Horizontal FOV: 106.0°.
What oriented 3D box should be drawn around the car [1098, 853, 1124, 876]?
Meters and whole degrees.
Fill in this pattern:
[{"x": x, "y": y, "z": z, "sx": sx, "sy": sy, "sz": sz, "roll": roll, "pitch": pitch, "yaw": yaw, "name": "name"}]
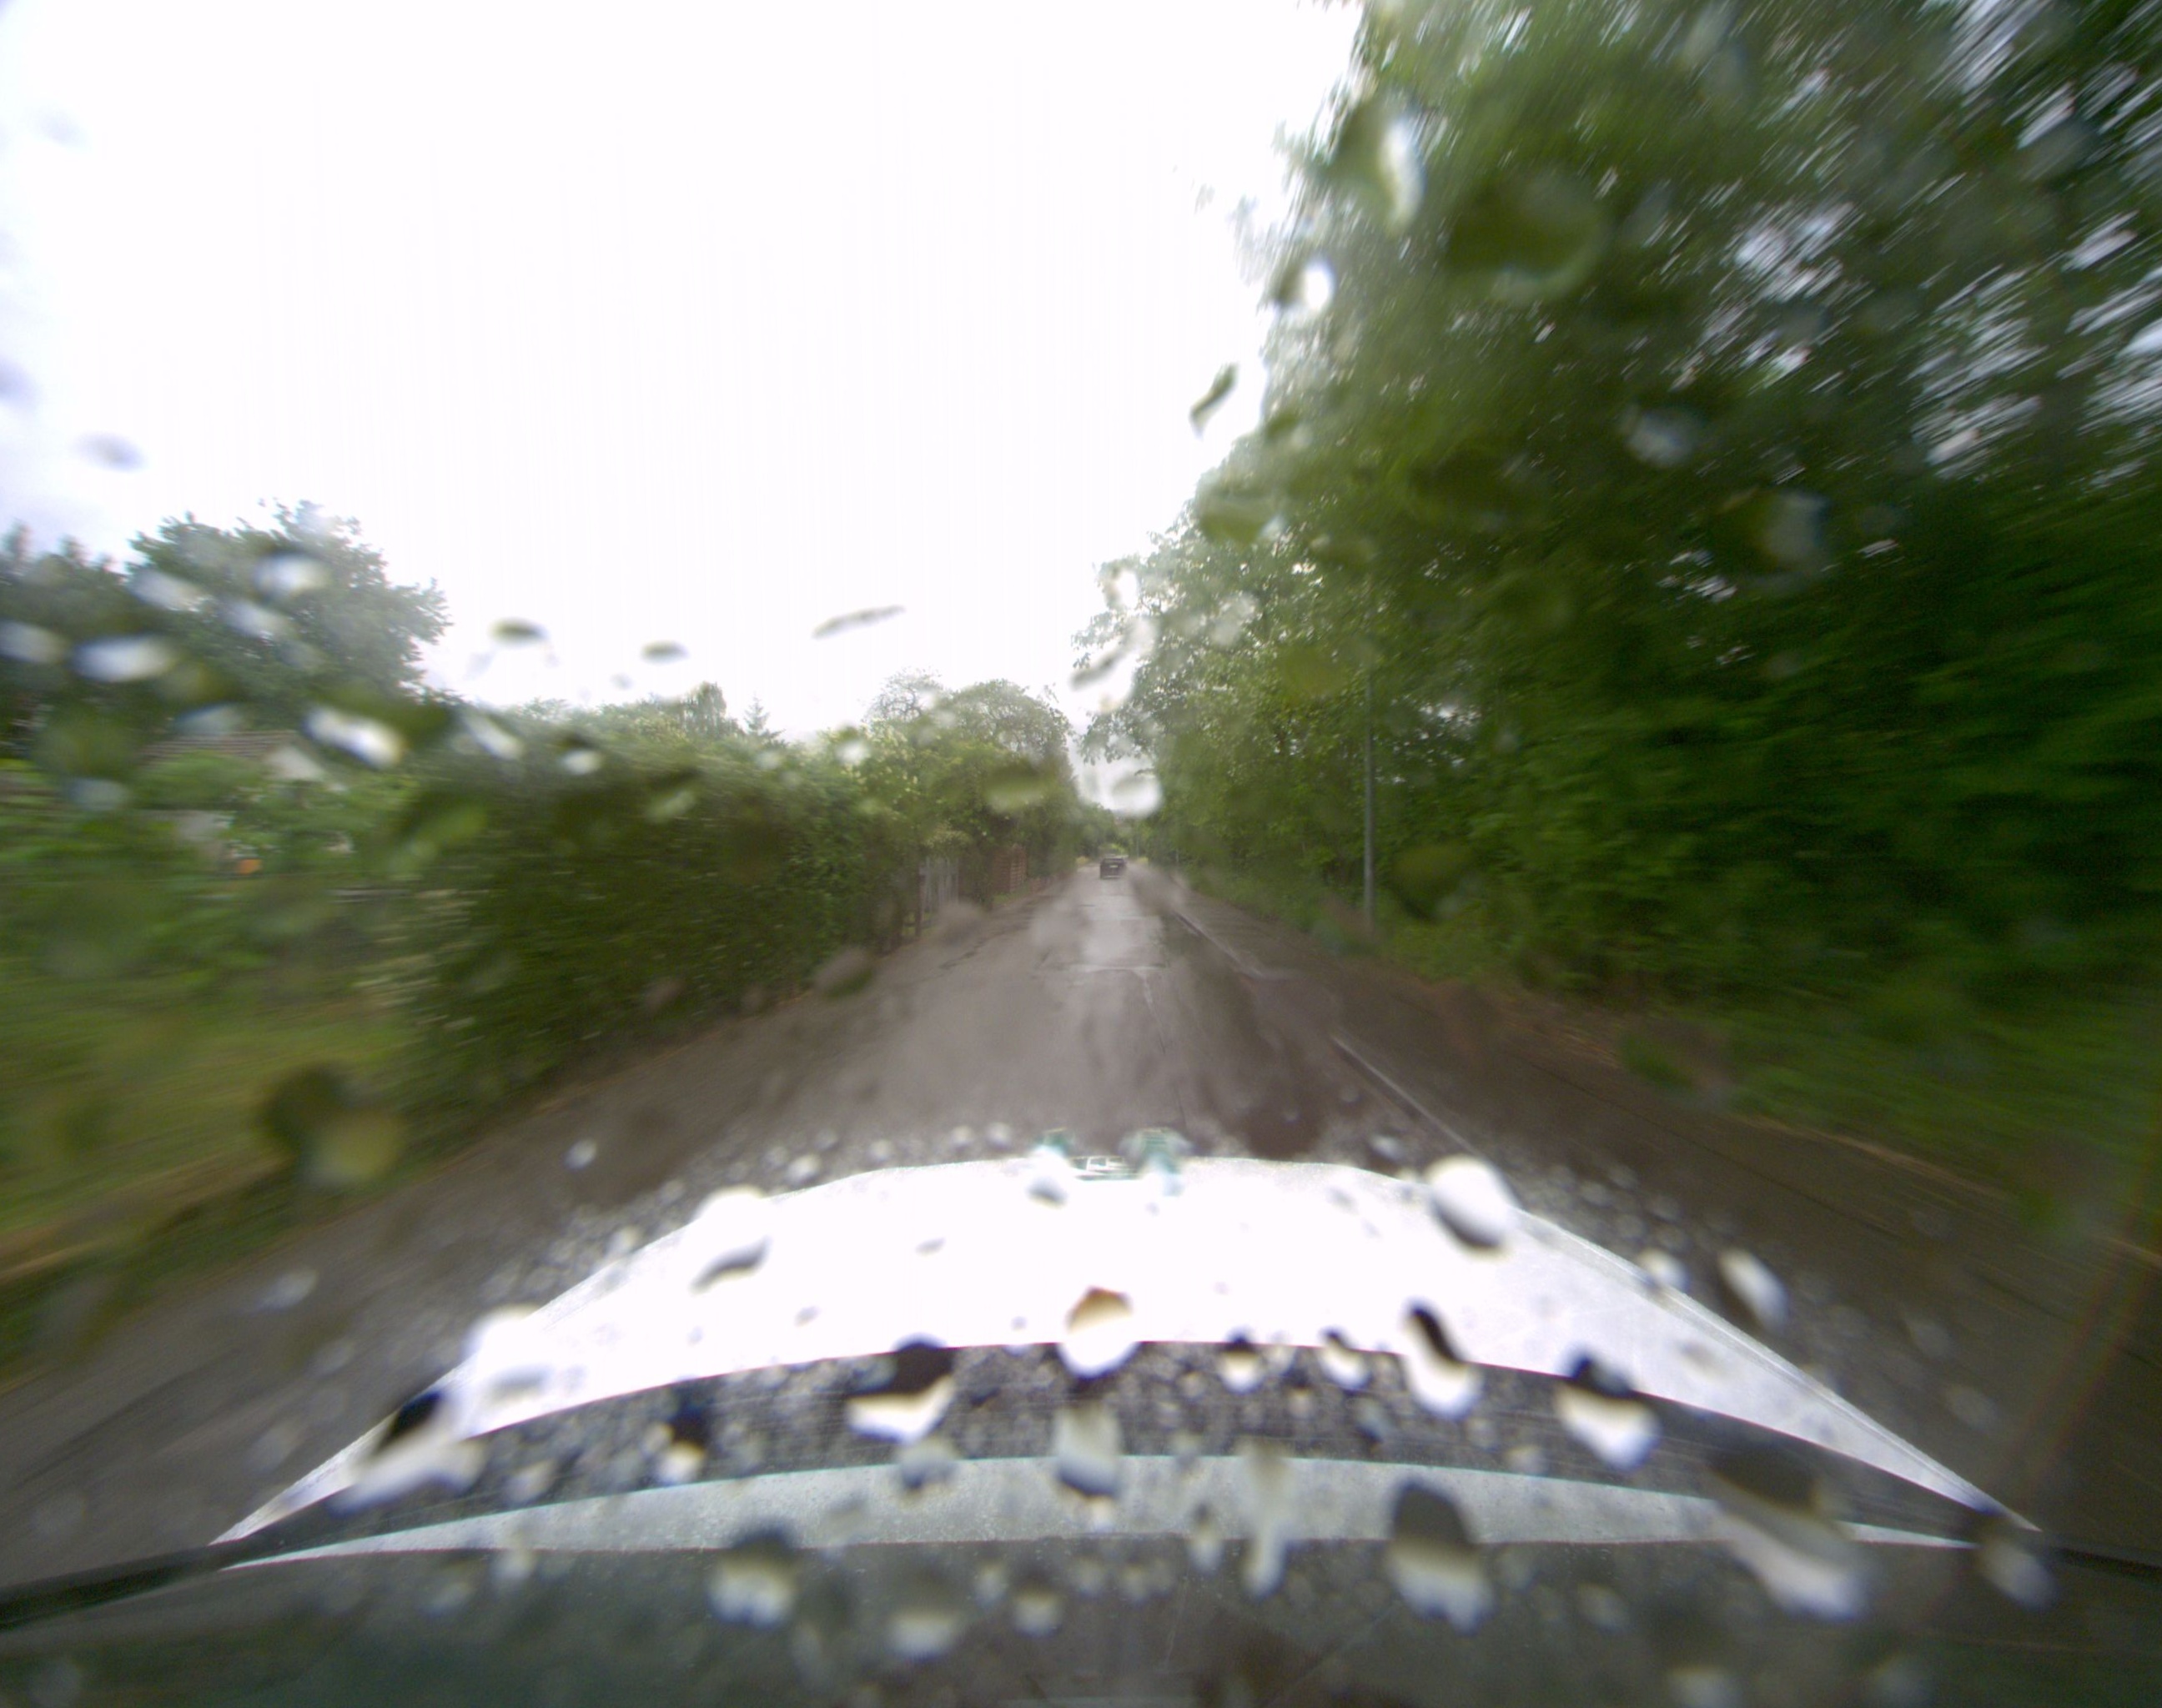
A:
[{"x": 2.049, "y": 0.708, "z": 54.062, "sx": 1.628, "sy": 1.450, "sz": 3.547, "roll": -1, "pitch": -1, "yaw": 3, "name": "car"}]
